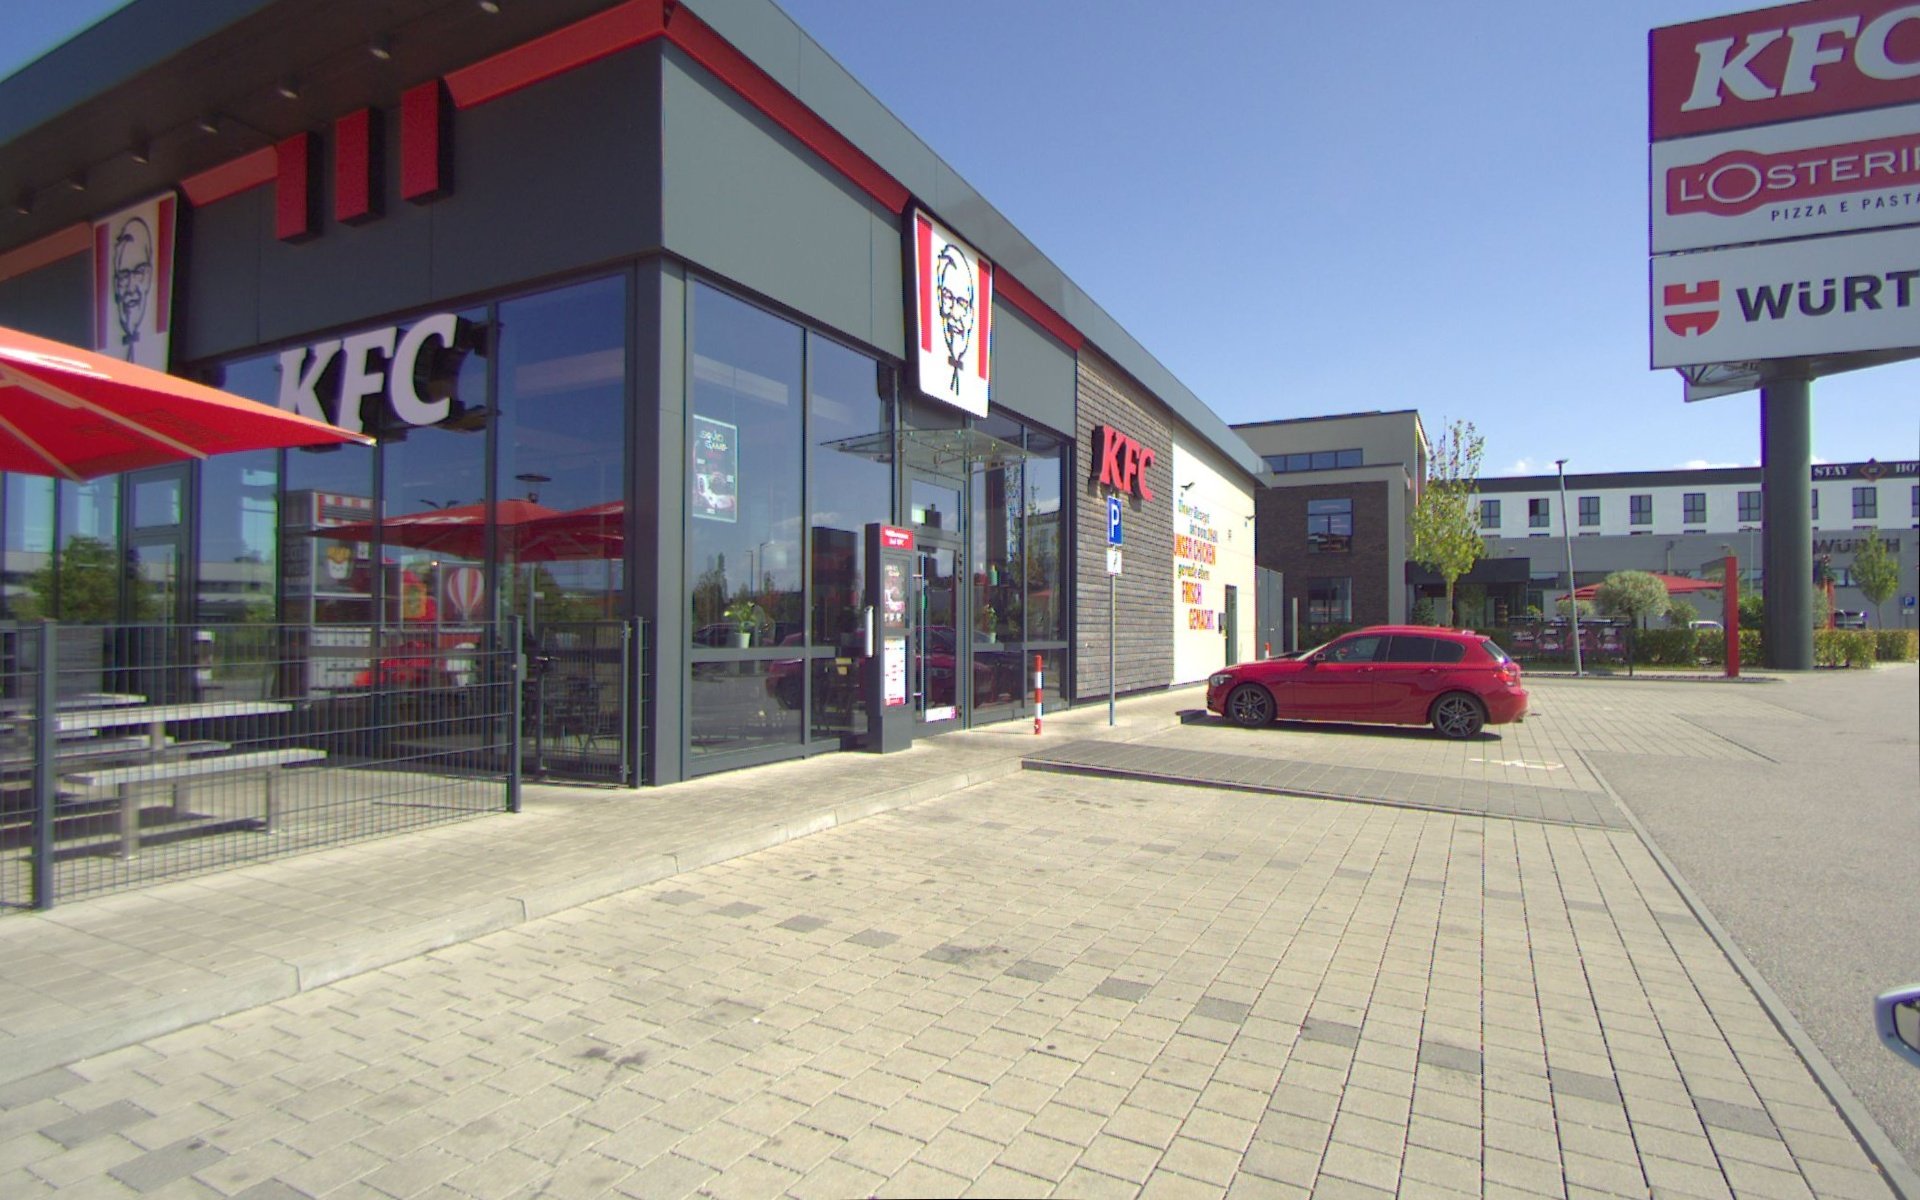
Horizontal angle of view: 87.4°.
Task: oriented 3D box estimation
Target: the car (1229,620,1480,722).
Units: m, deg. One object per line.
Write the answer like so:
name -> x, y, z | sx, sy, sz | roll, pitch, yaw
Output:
car -> 6.734, 1.127, 17.192 | 3.837, 1.526, 1.738 | 0, -1, 28

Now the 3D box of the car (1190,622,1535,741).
car -> 5.645, 1.054, 14.337 | 4.319, 1.432, 1.739 | 0, -1, 26

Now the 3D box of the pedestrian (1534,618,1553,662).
pedestrian -> 20.540, 1.391, 35.339 | 0.516, 1.525, 0.568 | -1, 0, 25

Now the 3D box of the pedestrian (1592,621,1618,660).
pedestrian -> 23.701, 1.482, 36.888 | 0.637, 1.385, 0.482 | -1, 0, 3

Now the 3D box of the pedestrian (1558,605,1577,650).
pedestrian -> 21.047, 0.956, 34.807 | 0.516, 1.525, 0.568 | -1, 0, 25

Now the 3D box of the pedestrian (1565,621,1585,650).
pedestrian -> 26.402, 1.509, 43.110 | 0.698, 1.214, 0.614 | -1, -1, 36

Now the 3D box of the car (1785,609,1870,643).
car -> 49.731, 1.464, 57.737 | 2.037, 1.905, 4.879 | -1, -1, 20

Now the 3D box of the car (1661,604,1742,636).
car -> 37.530, 0.996, 50.986 | 1.915, 1.551, 4.378 | -1, -1, 16

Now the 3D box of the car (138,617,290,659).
car -> -30.006, 1.473, 40.546 | 2.177, 1.547, 4.427 | 1, 0, 27
